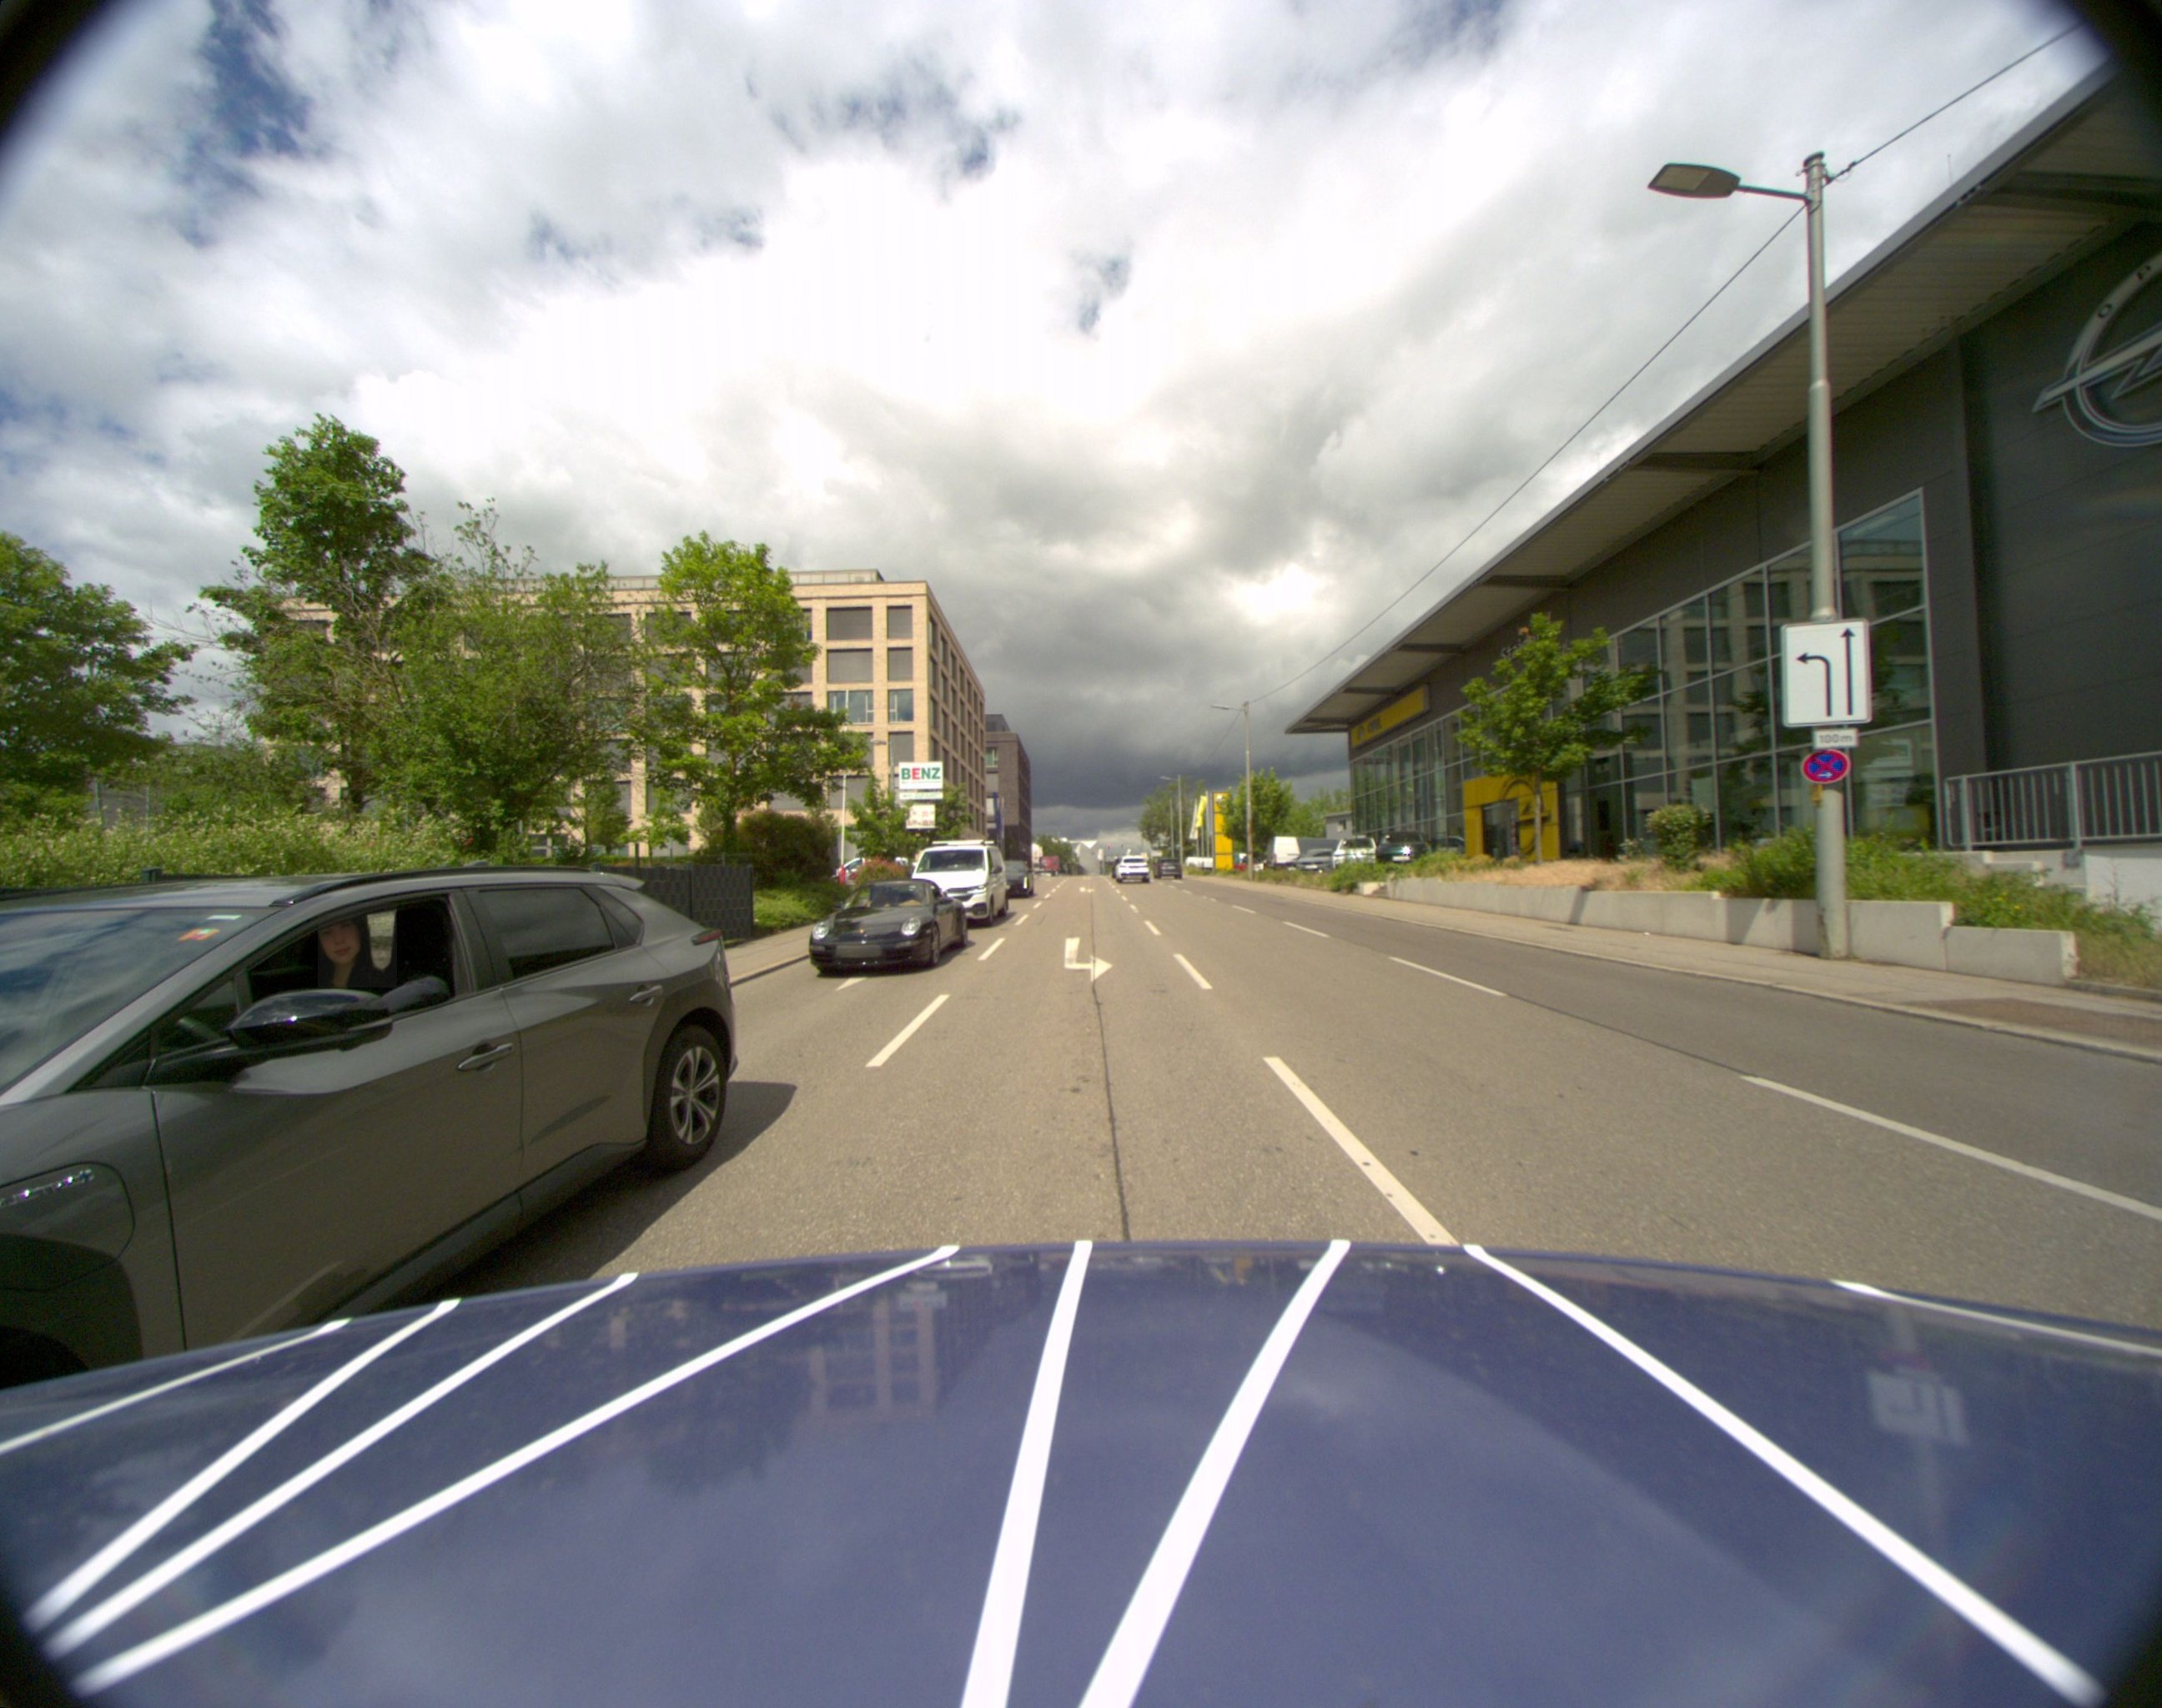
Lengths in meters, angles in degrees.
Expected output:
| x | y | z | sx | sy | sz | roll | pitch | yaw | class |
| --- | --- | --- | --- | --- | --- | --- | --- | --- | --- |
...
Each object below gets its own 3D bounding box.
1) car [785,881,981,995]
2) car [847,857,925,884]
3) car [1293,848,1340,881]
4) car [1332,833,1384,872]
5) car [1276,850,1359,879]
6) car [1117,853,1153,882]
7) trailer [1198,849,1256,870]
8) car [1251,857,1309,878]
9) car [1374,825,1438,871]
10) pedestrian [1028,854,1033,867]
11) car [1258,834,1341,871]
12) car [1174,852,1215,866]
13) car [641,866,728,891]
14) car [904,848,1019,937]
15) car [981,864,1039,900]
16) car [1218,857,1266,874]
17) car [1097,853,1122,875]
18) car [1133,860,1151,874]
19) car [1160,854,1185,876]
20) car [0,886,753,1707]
| x | y | z | sx | sy | sz | roll | pitch | yaw | class |
| --- | --- | --- | --- | --- | --- | --- | --- | --- | --- |
| -2.893 | 1.180 | 12.225 | 1.777 | 1.267 | 4.569 | -3 | 0 | 2 | car |
| -11.625 | 0.973 | 45.482 | 4.220 | 1.567 | 1.735 | -1 | 0 | -4 | car |
| 12.136 | 0.519 | 39.028 | 1.794 | 1.604 | 4.116 | -1 | 0 | 24 | car |
| 12.332 | -0.074 | 33.675 | 1.793 | 1.604 | 4.115 | -1 | 1 | 25 | car |
| 13.332 | 0.576 | 43.010 | 4.108 | 1.604 | 1.797 | -1 | 0 | -8 | car |
| 3.227 | 0.804 | 46.277 | 1.924 | 1.604 | 4.416 | -2 | 0 | 1 | car |
| 13.142 | 0.498 | 68.679 | 4.835 | 1.742 | 2.095 | -1 | 0 | -3 | trailer |
| 14.958 | 1.025 | 57.283 | 3.946 | 1.518 | 1.561 | -1 | 0 | -2 | car |
| 12.357 | -0.216 | 28.760 | 1.817 | 1.604 | 4.117 | 0 | 0 | 29 | car |
| -6.093 | 0.814 | 91.989 | 0.578 | 1.497 | 0.542 | -1 | 1 | 1 | pedestrian |
| 13.710 | -0.107 | 47.817 | 4.531 | 2.182 | 2.179 | -1 | 1 | -1 | car |
| 12.575 | 0.560 | 84.487 | 4.252 | 1.473 | 2.095 | -1 | 0 | -2 | car |
| -23.381 | 1.425 | 44.900 | 4.219 | 1.410 | 1.735 | -1 | 0 | -1 | car |
| -2.758 | 0.839 | 18.709 | 1.964 | 1.840 | 4.645 | -3 | 0 | 1 | car |
| -2.824 | 1.082 | 31.201 | 1.777 | 1.267 | 4.569 | -1 | 0 | 2 | car |
| 13.701 | 0.985 | 64.793 | 3.669 | 1.401 | 1.815 | -1 | 0 | 2 | car |
| 2.236 | 0.781 | 60.374 | 1.797 | 1.604 | 4.108 | -1 | 0 | -1 | car |
| 6.860 | 1.444 | 85.247 | 1.763 | 1.405 | 3.734 | 1 | 0 | 1 | car |
| 6.824 | 0.794 | 57.192 | 1.762 | 1.513 | 3.959 | -1 | 0 | 6 | car |
| -2.982 | 1.028 | 2.182 | 1.924 | 1.604 | 4.683 | -3 | 0 | 1 | car |
